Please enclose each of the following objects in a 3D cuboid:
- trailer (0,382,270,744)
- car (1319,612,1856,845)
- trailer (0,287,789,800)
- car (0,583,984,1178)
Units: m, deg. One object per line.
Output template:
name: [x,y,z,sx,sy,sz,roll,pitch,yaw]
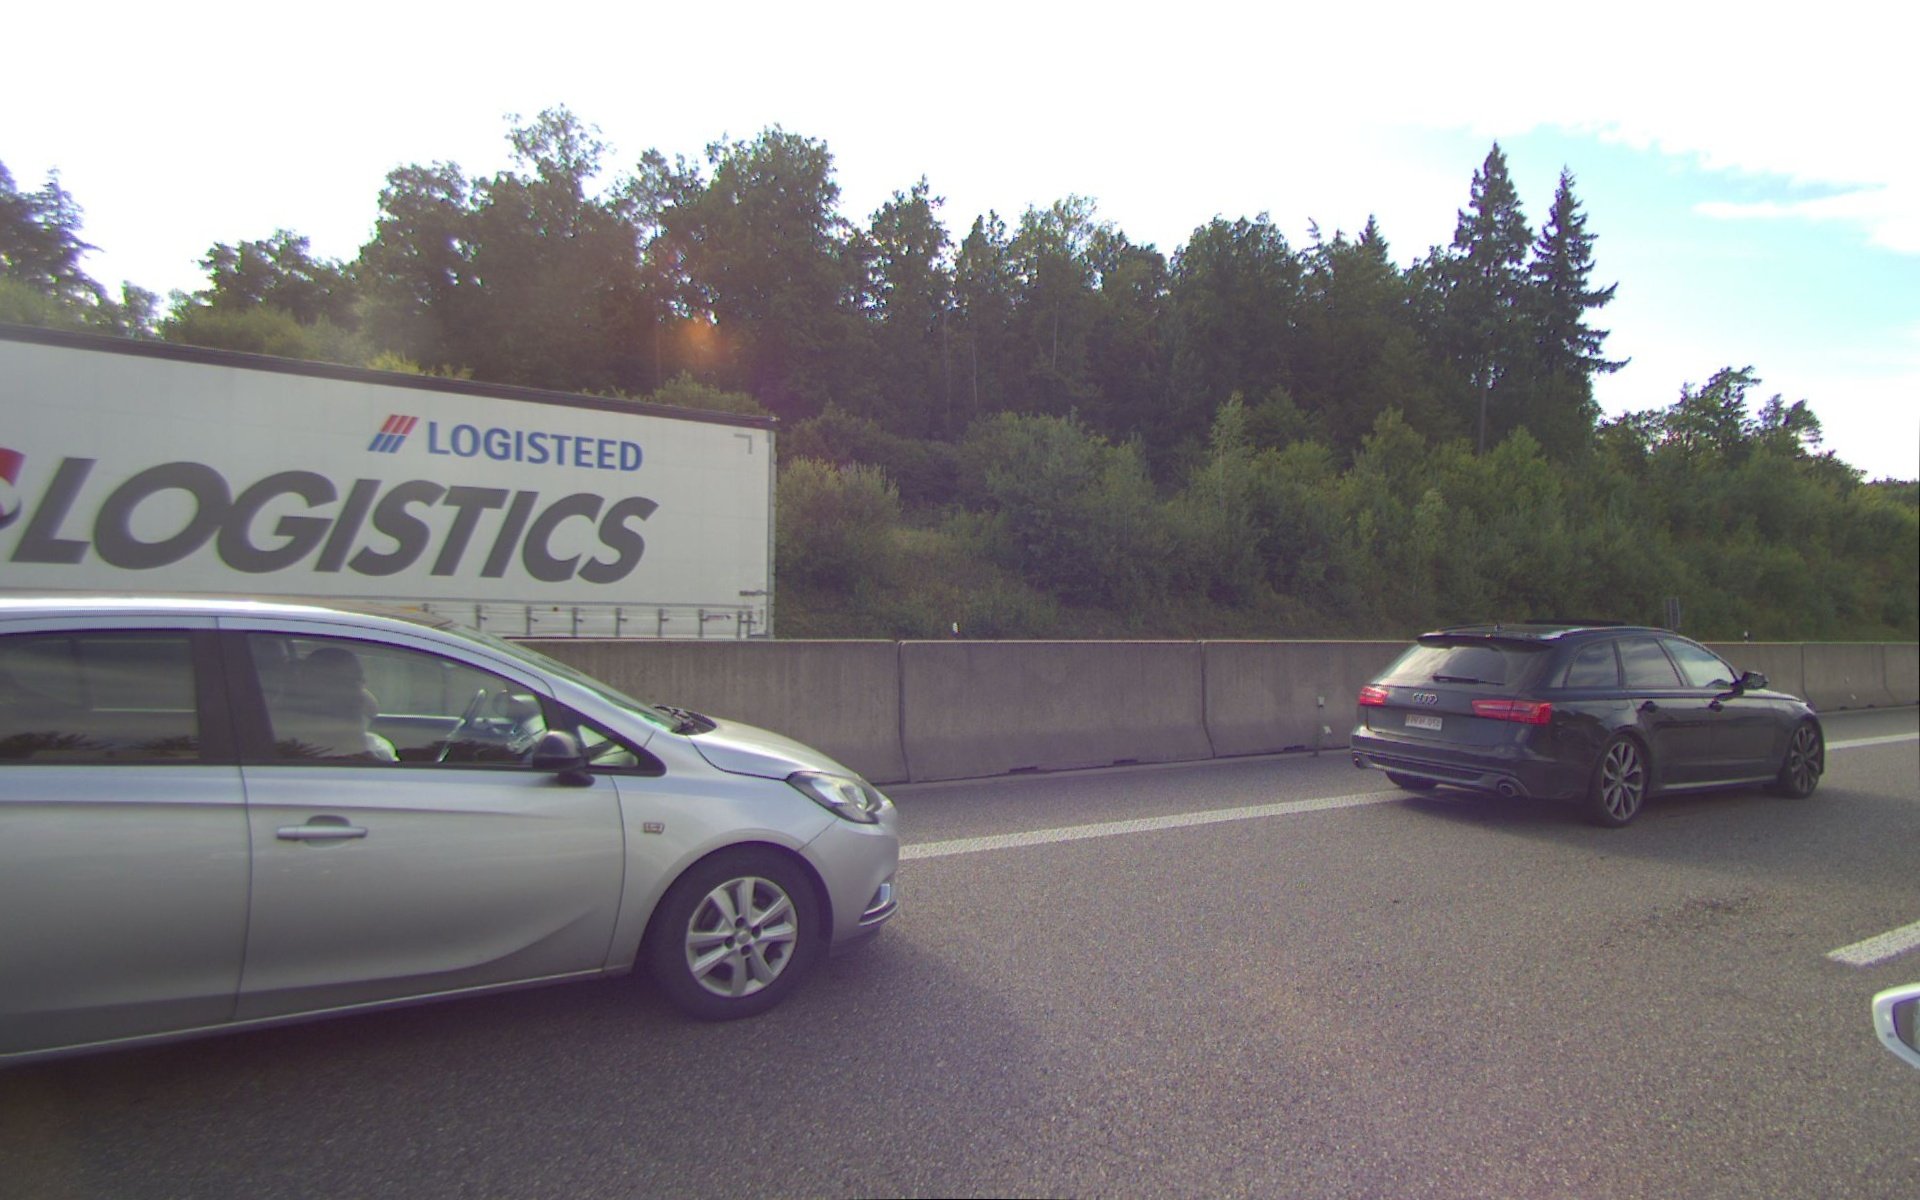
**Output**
trailer: [-17.612,-0.652,12.540,14.483,4.894,2.913,2,0,-30]
car: [5.398,0.889,8.485,4.690,1.475,1.834,1,0,-30]
trailer: [-9.147,-0.532,12.170,13.675,5.141,3.073,2,0,-31]
car: [-2.061,0.721,3.708,3.993,1.485,1.739,1,-1,-30]
